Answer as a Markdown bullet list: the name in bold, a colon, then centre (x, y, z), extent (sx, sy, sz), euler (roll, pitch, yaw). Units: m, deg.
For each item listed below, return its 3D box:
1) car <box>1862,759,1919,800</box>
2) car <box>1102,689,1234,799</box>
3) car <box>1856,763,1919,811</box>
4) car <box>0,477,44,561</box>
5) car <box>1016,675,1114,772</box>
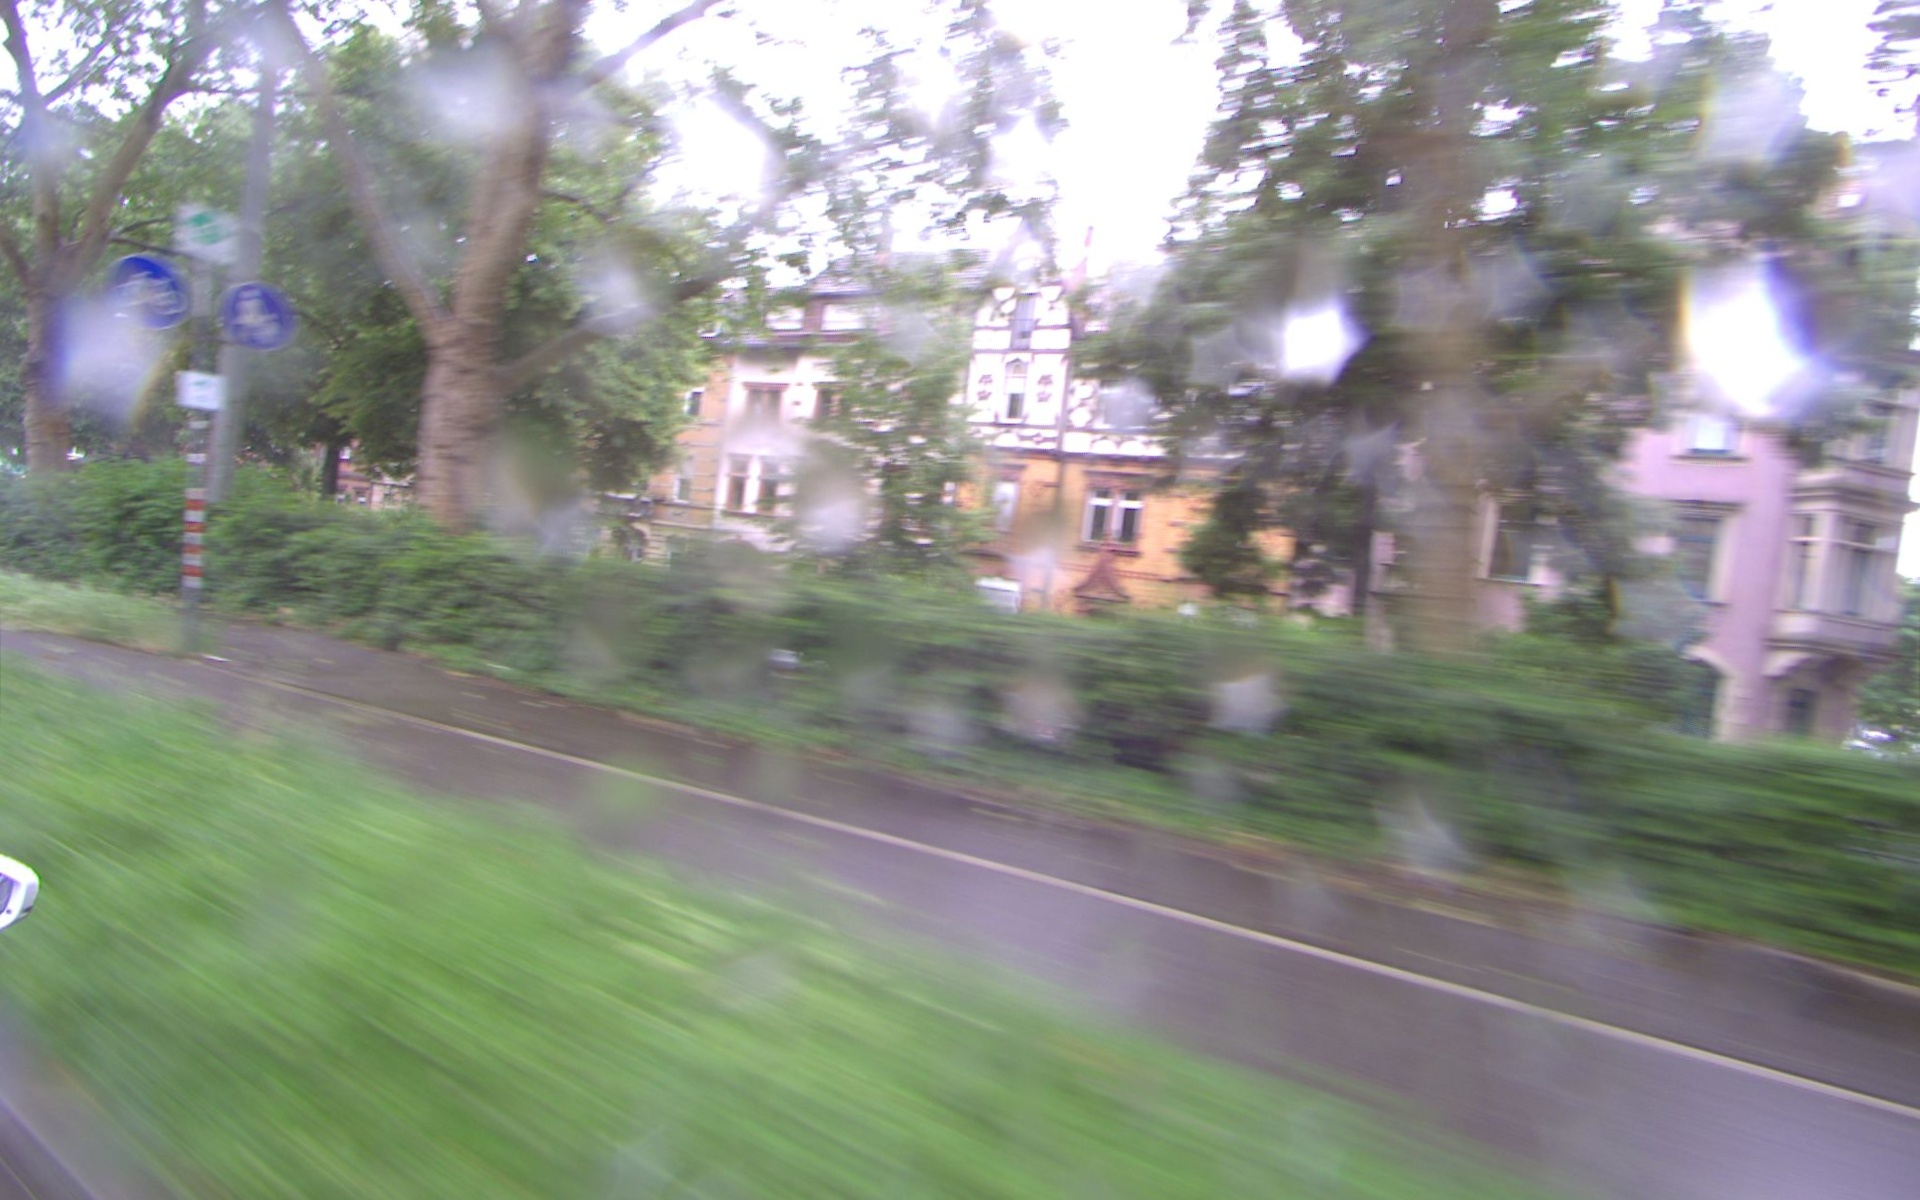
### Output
- **car**: centre (45.827, 8.775, 49.368), extent (1.897, 1.487, 3.895), euler (6, -1, 38)
- **car**: centre (4.108, 2.823, 20.463), extent (1.693, 1.434, 3.754), euler (7, 1, -1)
- **car**: centre (39.728, 7.947, 42.890), extent (1.897, 1.487, 3.895), euler (6, -1, 38)
- **car**: centre (-33.390, -2.949, 33.686), extent (5.678, 2.566, 2.182), euler (8, 2, 29)
- **car**: centre (2.232, 2.640, 22.222), extent (1.591, 1.434, 3.629), euler (7, 1, -1)
